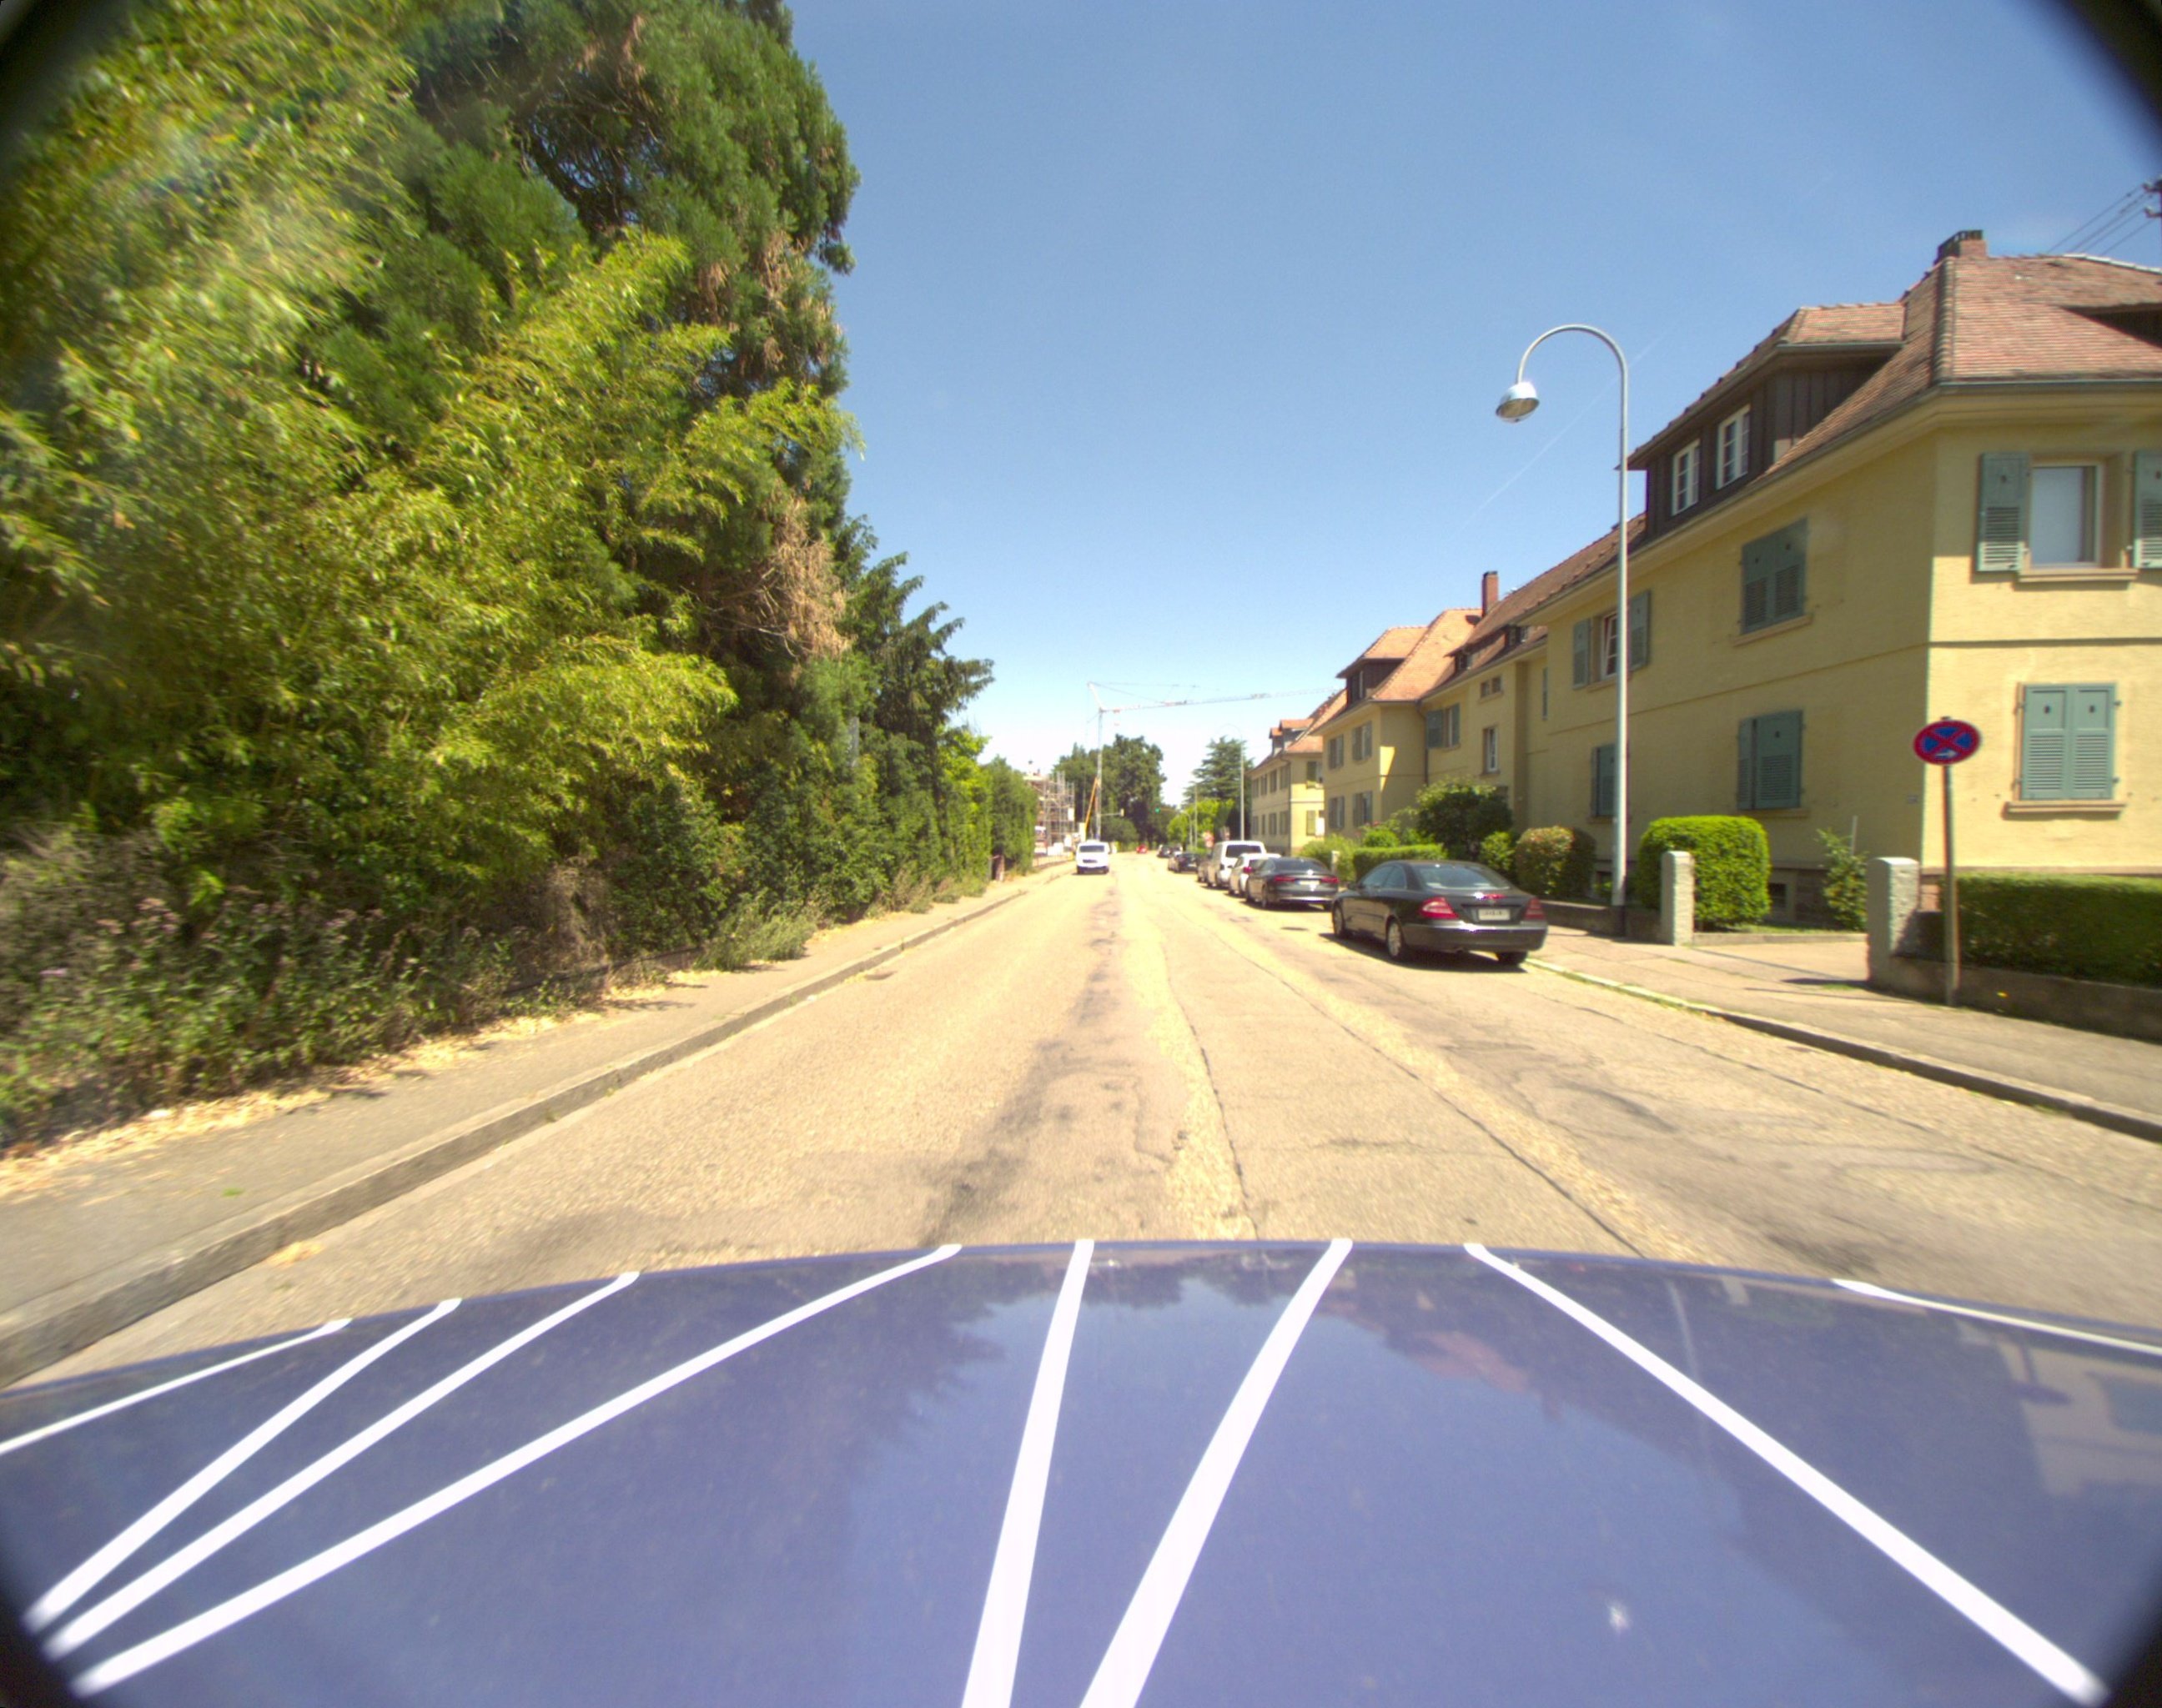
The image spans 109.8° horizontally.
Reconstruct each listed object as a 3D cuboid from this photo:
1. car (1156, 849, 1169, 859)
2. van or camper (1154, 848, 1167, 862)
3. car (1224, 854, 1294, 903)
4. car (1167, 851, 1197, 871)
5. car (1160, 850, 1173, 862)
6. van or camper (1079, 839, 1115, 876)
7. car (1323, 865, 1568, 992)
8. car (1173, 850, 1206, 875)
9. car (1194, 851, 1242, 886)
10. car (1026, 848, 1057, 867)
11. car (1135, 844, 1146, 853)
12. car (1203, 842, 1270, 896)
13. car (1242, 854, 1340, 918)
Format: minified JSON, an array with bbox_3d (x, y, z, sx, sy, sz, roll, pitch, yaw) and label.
[{"bbox_3d":[12.355,-0.047,115.567,1.684,1.433,4.249,2,2,10],"label":"car"},{"bbox_3d":[11.580,0.132,110.063,1.684,1.794,3.987,2,2,8],"label":"van or camper"},{"bbox_3d":[5.902,0.763,25.547,1.670,1.484,3.478,0,1,3],"label":"car"},{"bbox_3d":[7.485,0.493,56.762,1.799,1.394,4.218,1,1,2],"label":"car"},{"bbox_3d":[11.822,0.249,105.144,1.684,1.404,3.927,2,2,6],"label":"car"},{"bbox_3d":[1.071,0.173,48.386,1.998,1.968,5.361,-3,2,4],"label":"van or camper"},{"bbox_3d":[5.089,0.932,11.353,1.670,1.378,4.380,1,1,2],"label":"car"},{"bbox_3d":[7.270,0.553,51.213,1.719,1.477,4.076,1,1,2],"label":"car"},{"bbox_3d":[6.696,0.678,37.493,1.691,1.516,4.062,2,1,1],"label":"car"},{"bbox_3d":[-3.333,0.300,65.138,1.714,1.515,3.842,0,1,11],"label":"car"},{"bbox_3d":[10.980,-0.953,139.884,1.757,1.609,3.575,0,1,7],"label":"car"},{"bbox_3d":[6.222,0.528,30.879,1.882,1.952,4.626,2,1,3],"label":"car"},{"bbox_3d":[5.582,0.784,20.752,1.670,1.484,4.466,0,1,3],"label":"car"}]
